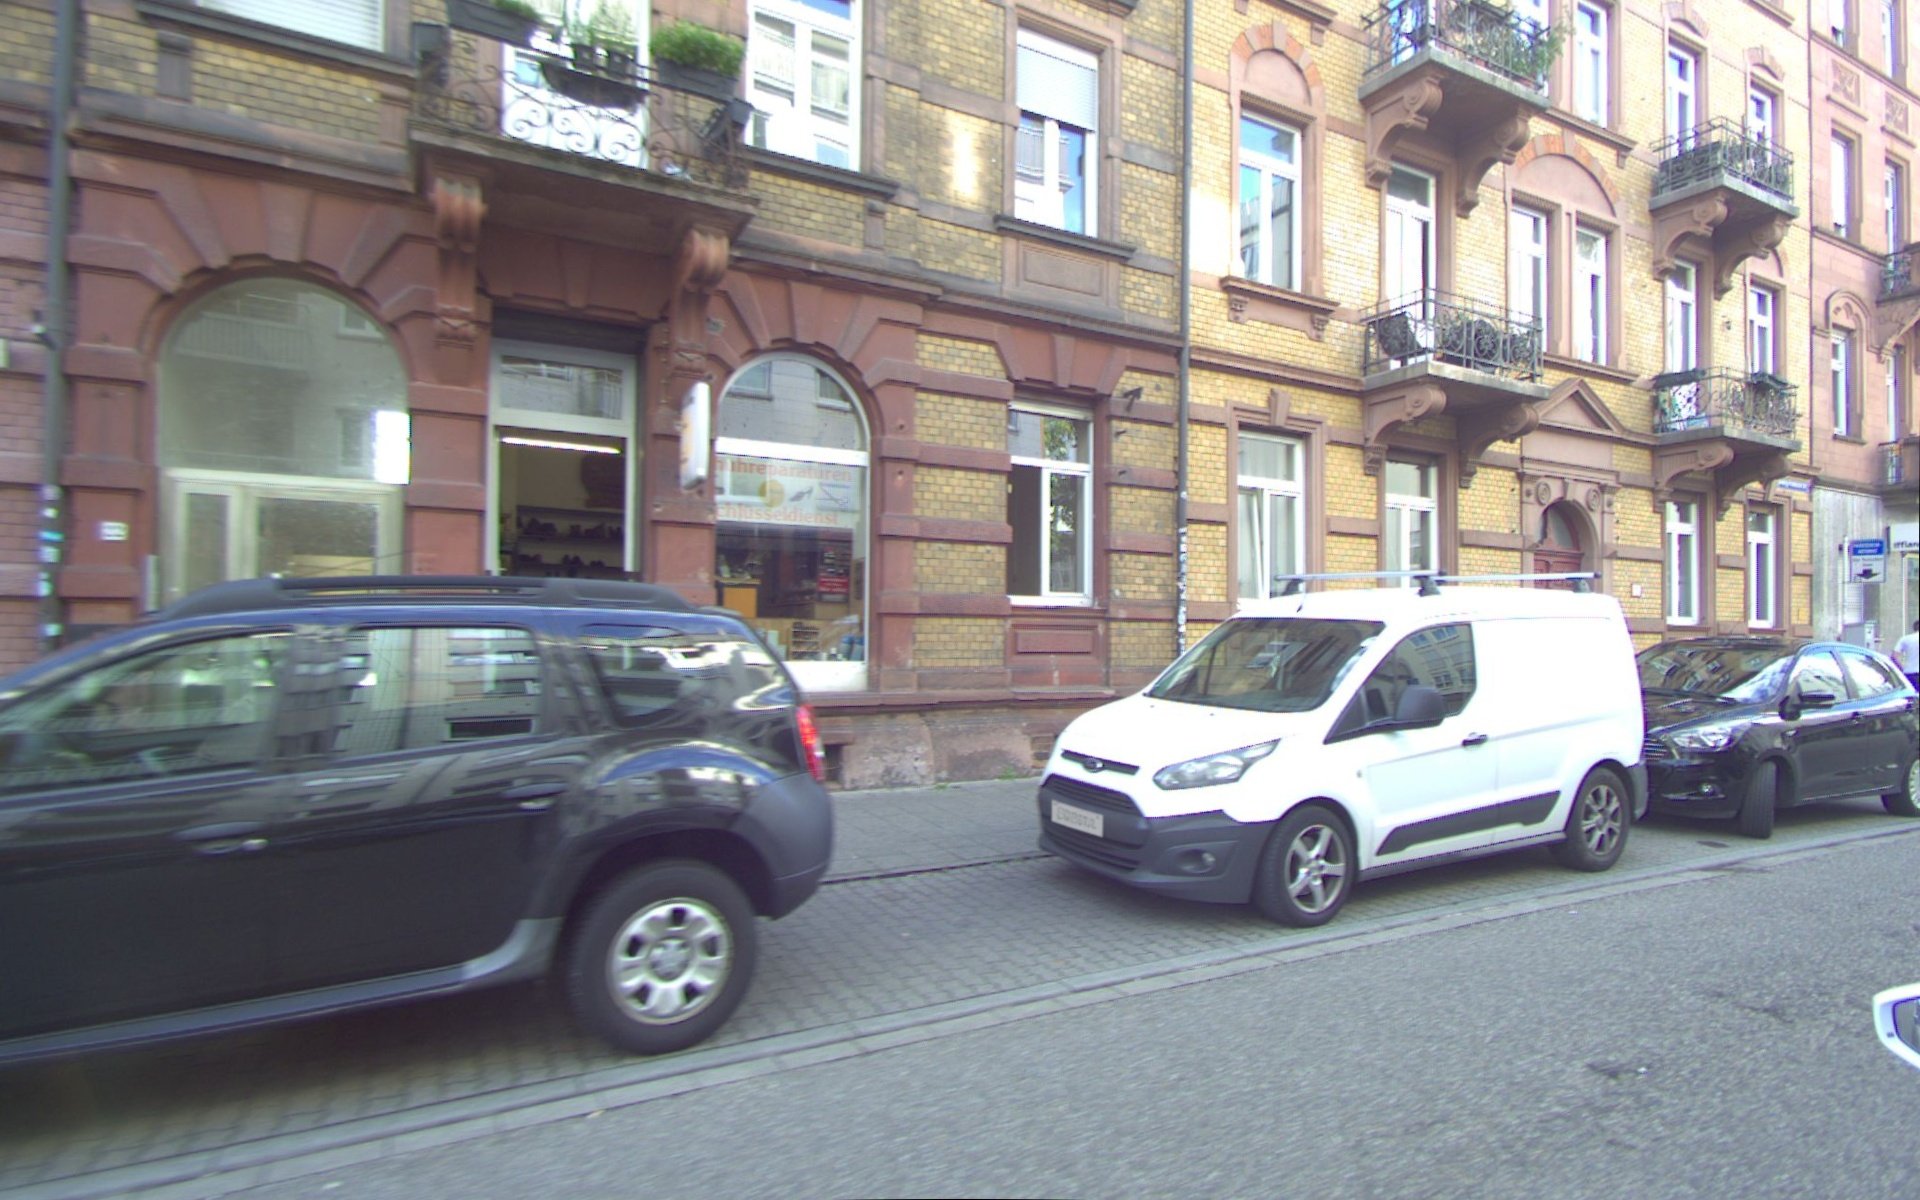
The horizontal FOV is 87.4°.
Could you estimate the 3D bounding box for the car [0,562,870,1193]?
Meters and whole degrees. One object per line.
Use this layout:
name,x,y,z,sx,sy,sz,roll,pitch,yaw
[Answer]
car,-2.610,0.748,3.743,4.095,1.660,1.985,1,-1,-30

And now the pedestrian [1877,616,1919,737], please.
pedestrian,14.927,1.181,15.650,0.764,1.814,0.726,1,2,-35

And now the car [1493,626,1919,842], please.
car,6.771,1.039,8.790,3.931,1.503,1.736,2,-1,-26

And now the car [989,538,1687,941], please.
car,2.562,0.705,6.618,4.381,1.896,1.912,1,-1,-28
